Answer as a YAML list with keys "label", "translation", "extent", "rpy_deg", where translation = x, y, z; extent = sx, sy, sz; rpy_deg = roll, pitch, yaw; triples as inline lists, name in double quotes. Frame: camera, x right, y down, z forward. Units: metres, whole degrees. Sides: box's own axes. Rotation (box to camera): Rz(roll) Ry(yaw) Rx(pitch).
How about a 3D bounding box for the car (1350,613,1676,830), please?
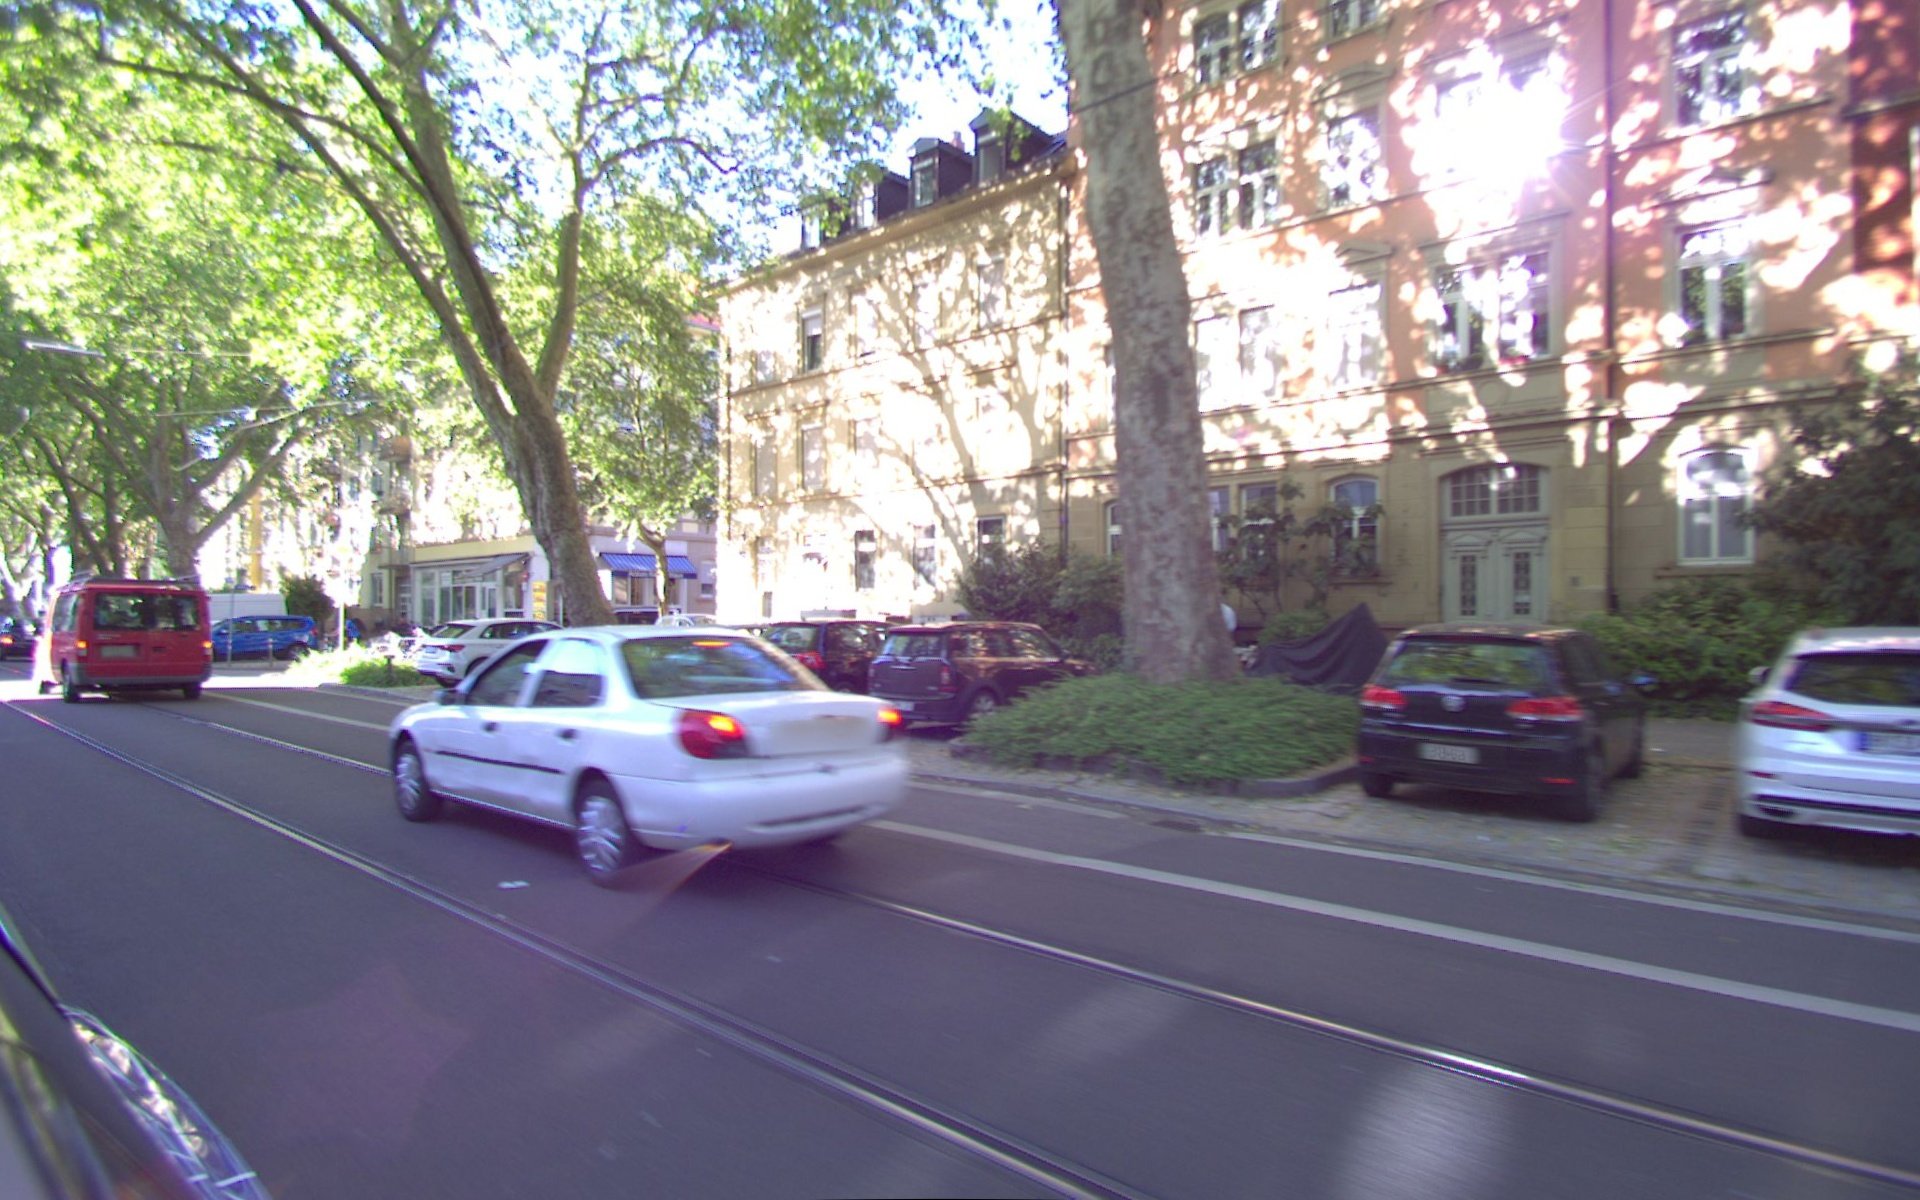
- label: "car"
  translation: [4.987, 0.856, 8.891]
  extent: [1.704, 1.471, 3.753]
  rpy_deg: [-1, -1, 42]

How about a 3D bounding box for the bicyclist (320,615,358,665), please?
- label: "bicyclist"
  translation: [-19.510, 1.252, 31.804]
  extent: [0.736, 1.538, 0.856]
  rpy_deg: [-1, -2, 43]

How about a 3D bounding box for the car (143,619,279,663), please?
- label: "car"
  translation: [-27.617, 1.478, 37.396]
  extent: [1.745, 1.529, 3.733]
  rpy_deg: [-1, -1, 38]

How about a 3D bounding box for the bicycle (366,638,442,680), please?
- label: "bicycle"
  translation: [-15.339, 1.609, 27.951]
  extent: [1.830, 1.096, 0.397]
  rpy_deg: [1, -1, -31]

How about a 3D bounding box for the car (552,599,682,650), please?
- label: "car"
  translation: [-13.859, 0.948, 41.049]
  extent: [2.130, 1.894, 4.520]
  rpy_deg: [3, 1, 45]

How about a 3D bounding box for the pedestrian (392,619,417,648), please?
- label: "pedestrian"
  translation: [-24.277, 1.462, 44.194]
  extent: [0.930, 1.250, 0.699]
  rpy_deg: [-1, -1, 43]

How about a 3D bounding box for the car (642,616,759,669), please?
- label: "car"
  translation: [-7.728, 1.220, 30.011]
  extent: [3.485, 1.471, 1.583]
  rpy_deg: [-1, -1, 39]

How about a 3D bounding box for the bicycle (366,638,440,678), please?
- label: "bicycle"
  translation: [-15.922, 1.645, 28.941]
  extent: [1.830, 1.096, 0.397]
  rpy_deg: [1, -1, -31]

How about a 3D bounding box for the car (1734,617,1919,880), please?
- label: "car"
  translation: [6.892, 0.880, 7.271]
  extent: [1.830, 1.507, 3.945]
  rpy_deg: [-1, -1, 42]

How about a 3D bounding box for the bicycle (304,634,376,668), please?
- label: "bicycle"
  translation: [-19.482, 1.588, 31.832]
  extent: [0.628, 1.039, 1.850]
  rpy_deg: [-1, -2, 43]

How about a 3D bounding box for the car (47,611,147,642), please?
- label: "car"
  translation: [-51.576, 1.555, 60.565]
  extent: [1.999, 1.625, 4.309]
  rpy_deg: [-2, 0, 41]

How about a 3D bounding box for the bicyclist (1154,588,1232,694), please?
- label: "bicyclist"
  translation: [4.054, 0.692, 17.606]
  extent: [1.048, 1.776, 0.822]
  rpy_deg: [-1, -1, 41]

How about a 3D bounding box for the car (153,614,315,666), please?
- label: "car"
  translation: [-25.468, 1.361, 35.627]
  extent: [1.814, 1.725, 4.278]
  rpy_deg: [-1, -1, 38]

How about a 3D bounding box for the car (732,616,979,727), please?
- label: "car"
  translation: [-1.461, 0.983, 15.592]
  extent: [1.764, 1.471, 3.957]
  rpy_deg: [-1, -1, 32]

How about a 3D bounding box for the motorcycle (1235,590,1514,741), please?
- label: "motorcycle"
  translation: [5.033, 0.714, 12.492]
  extent: [3.010, 1.643, 1.041]
  rpy_deg: [0, 1, 41]

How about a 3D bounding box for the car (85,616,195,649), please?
- label: "car"
  translation: [-40.961, 1.600, 50.600]
  extent: [1.868, 1.456, 4.016]
  rpy_deg: [-2, 0, 41]

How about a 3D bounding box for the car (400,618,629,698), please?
- label: "car"
  translation: [-9.158, 1.119, 21.042]
  extent: [1.878, 1.471, 3.946]
  rpy_deg: [-1, -1, 40]

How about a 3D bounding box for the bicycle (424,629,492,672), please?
- label: "bicycle"
  translation: [-13.031, 1.299, 26.275]
  extent: [1.536, 1.096, 0.397]
  rpy_deg: [1, -1, -31]

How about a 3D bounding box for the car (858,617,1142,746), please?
- label: "car"
  translation: [0.657, 0.976, 13.692]
  extent: [1.704, 1.471, 3.943]
  rpy_deg: [-1, -1, 43]

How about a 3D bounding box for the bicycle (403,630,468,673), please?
- label: "bicycle"
  translation: [-14.109, 1.371, 27.238]
  extent: [1.536, 1.096, 0.397]
  rpy_deg: [1, -1, -31]

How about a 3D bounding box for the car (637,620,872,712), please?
- label: "car"
  translation: [-3.402, 1.034, 17.422]
  extent: [1.602, 1.379, 3.952]
  rpy_deg: [-1, -1, 35]

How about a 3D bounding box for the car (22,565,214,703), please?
- label: "car"
  translation: [-15.736, 0.625, 18.812]
  extent: [4.957, 2.244, 1.897]
  rpy_deg: [-1, -3, 41]

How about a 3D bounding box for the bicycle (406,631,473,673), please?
- label: "bicycle"
  translation: [-13.821, 1.371, 26.891]
  extent: [1.536, 1.096, 0.397]
  rpy_deg: [1, -1, -31]

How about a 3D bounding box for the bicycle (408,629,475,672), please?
- label: "bicycle"
  translation: [-13.584, 1.308, 26.510]
  extent: [1.536, 1.096, 0.397]
  rpy_deg: [1, -1, -31]

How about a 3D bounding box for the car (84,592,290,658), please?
- label: "car"
  translation: [-32.061, 0.976, 42.223]
  extent: [1.999, 2.426, 6.533]
  rpy_deg: [-2, 0, 41]

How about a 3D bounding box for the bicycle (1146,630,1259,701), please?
- label: "bicycle"
  translation: [4.189, 1.111, 17.551]
  extent: [1.779, 1.147, 0.734]
  rpy_deg: [-1, -1, 41]

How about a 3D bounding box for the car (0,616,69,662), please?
- label: "car"
  translation: [-32.387, 1.348, 35.156]
  extent: [3.689, 1.521, 1.618]
  rpy_deg: [-1, -3, 41]

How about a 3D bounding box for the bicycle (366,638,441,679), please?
- label: "bicycle"
  translation: [-15.701, 1.630, 28.580]
  extent: [1.830, 1.096, 0.397]
  rpy_deg: [1, -1, -31]

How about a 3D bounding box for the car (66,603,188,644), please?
- label: "car"
  translation: [-42.923, 1.184, 52.237]
  extent: [1.920, 1.922, 4.581]
  rpy_deg: [-2, 0, 40]

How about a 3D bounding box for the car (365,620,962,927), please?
- label: "car"
  translation: [-2.210, 0.819, 6.688]
  extent: [4.468, 1.369, 1.700]
  rpy_deg: [-1, -1, 42]
